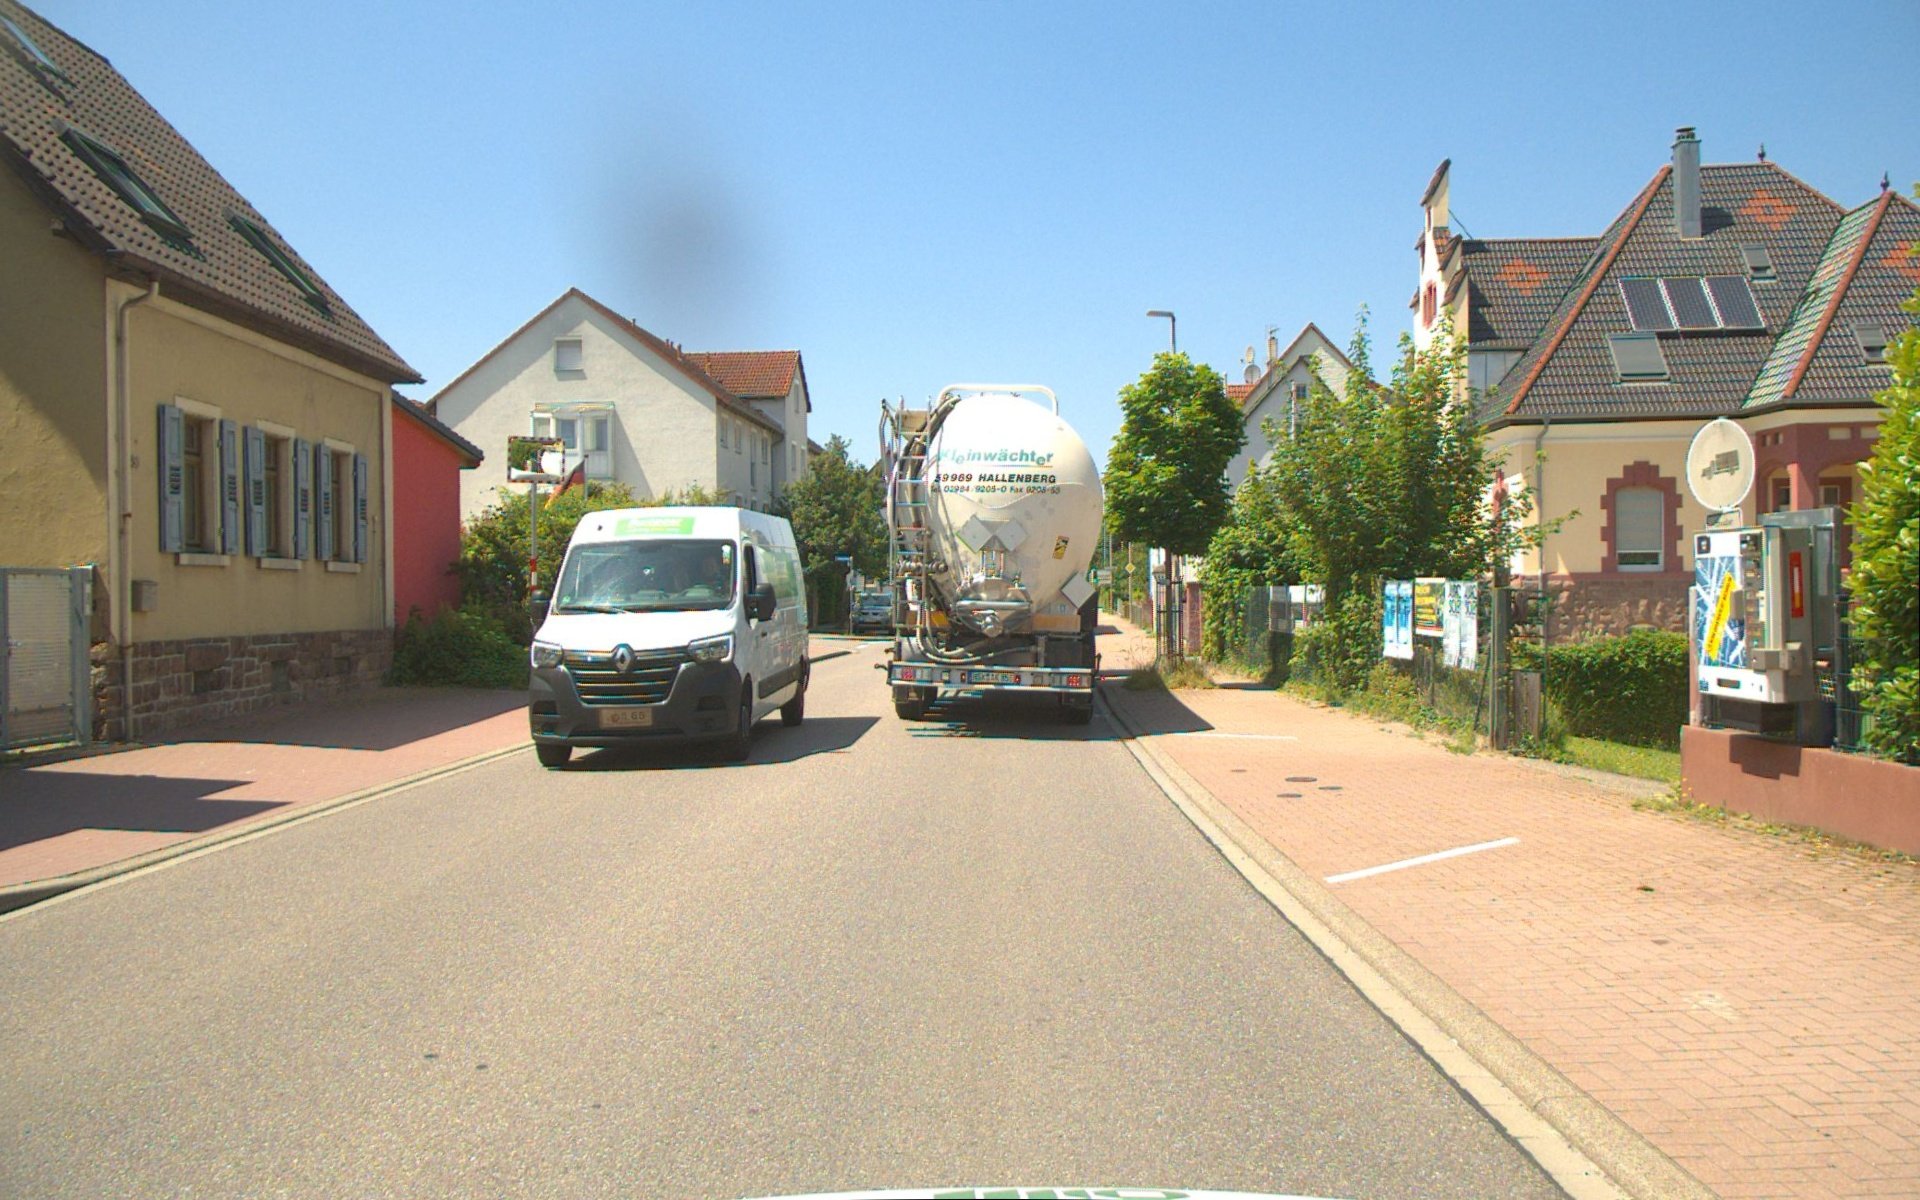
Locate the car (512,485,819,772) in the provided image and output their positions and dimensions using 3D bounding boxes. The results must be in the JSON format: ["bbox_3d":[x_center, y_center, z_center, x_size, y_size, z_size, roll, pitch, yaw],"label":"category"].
[{"bbox_3d":[-2.884,0.250,17.742,1.987,2.504,6.069,-1,0,2],"label":"car"}]

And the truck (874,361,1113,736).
[{"bbox_3d":[0.429,-0.582,22.828,2.586,4.086,9.562,0,0,1],"label":"truck"}]

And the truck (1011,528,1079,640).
[{"bbox_3d":[3.534,-0.640,69.364,2.586,4.298,12.098,0,0,3],"label":"truck"}]

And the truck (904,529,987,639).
[{"bbox_3d":[-0.434,-0.598,62.971,2.513,3.765,10.082,-2,0,3],"label":"truck"}]

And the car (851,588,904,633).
[{"bbox_3d":[-3.248,0.390,65.940,1.670,1.716,4.528,0,0,3],"label":"car"}]
